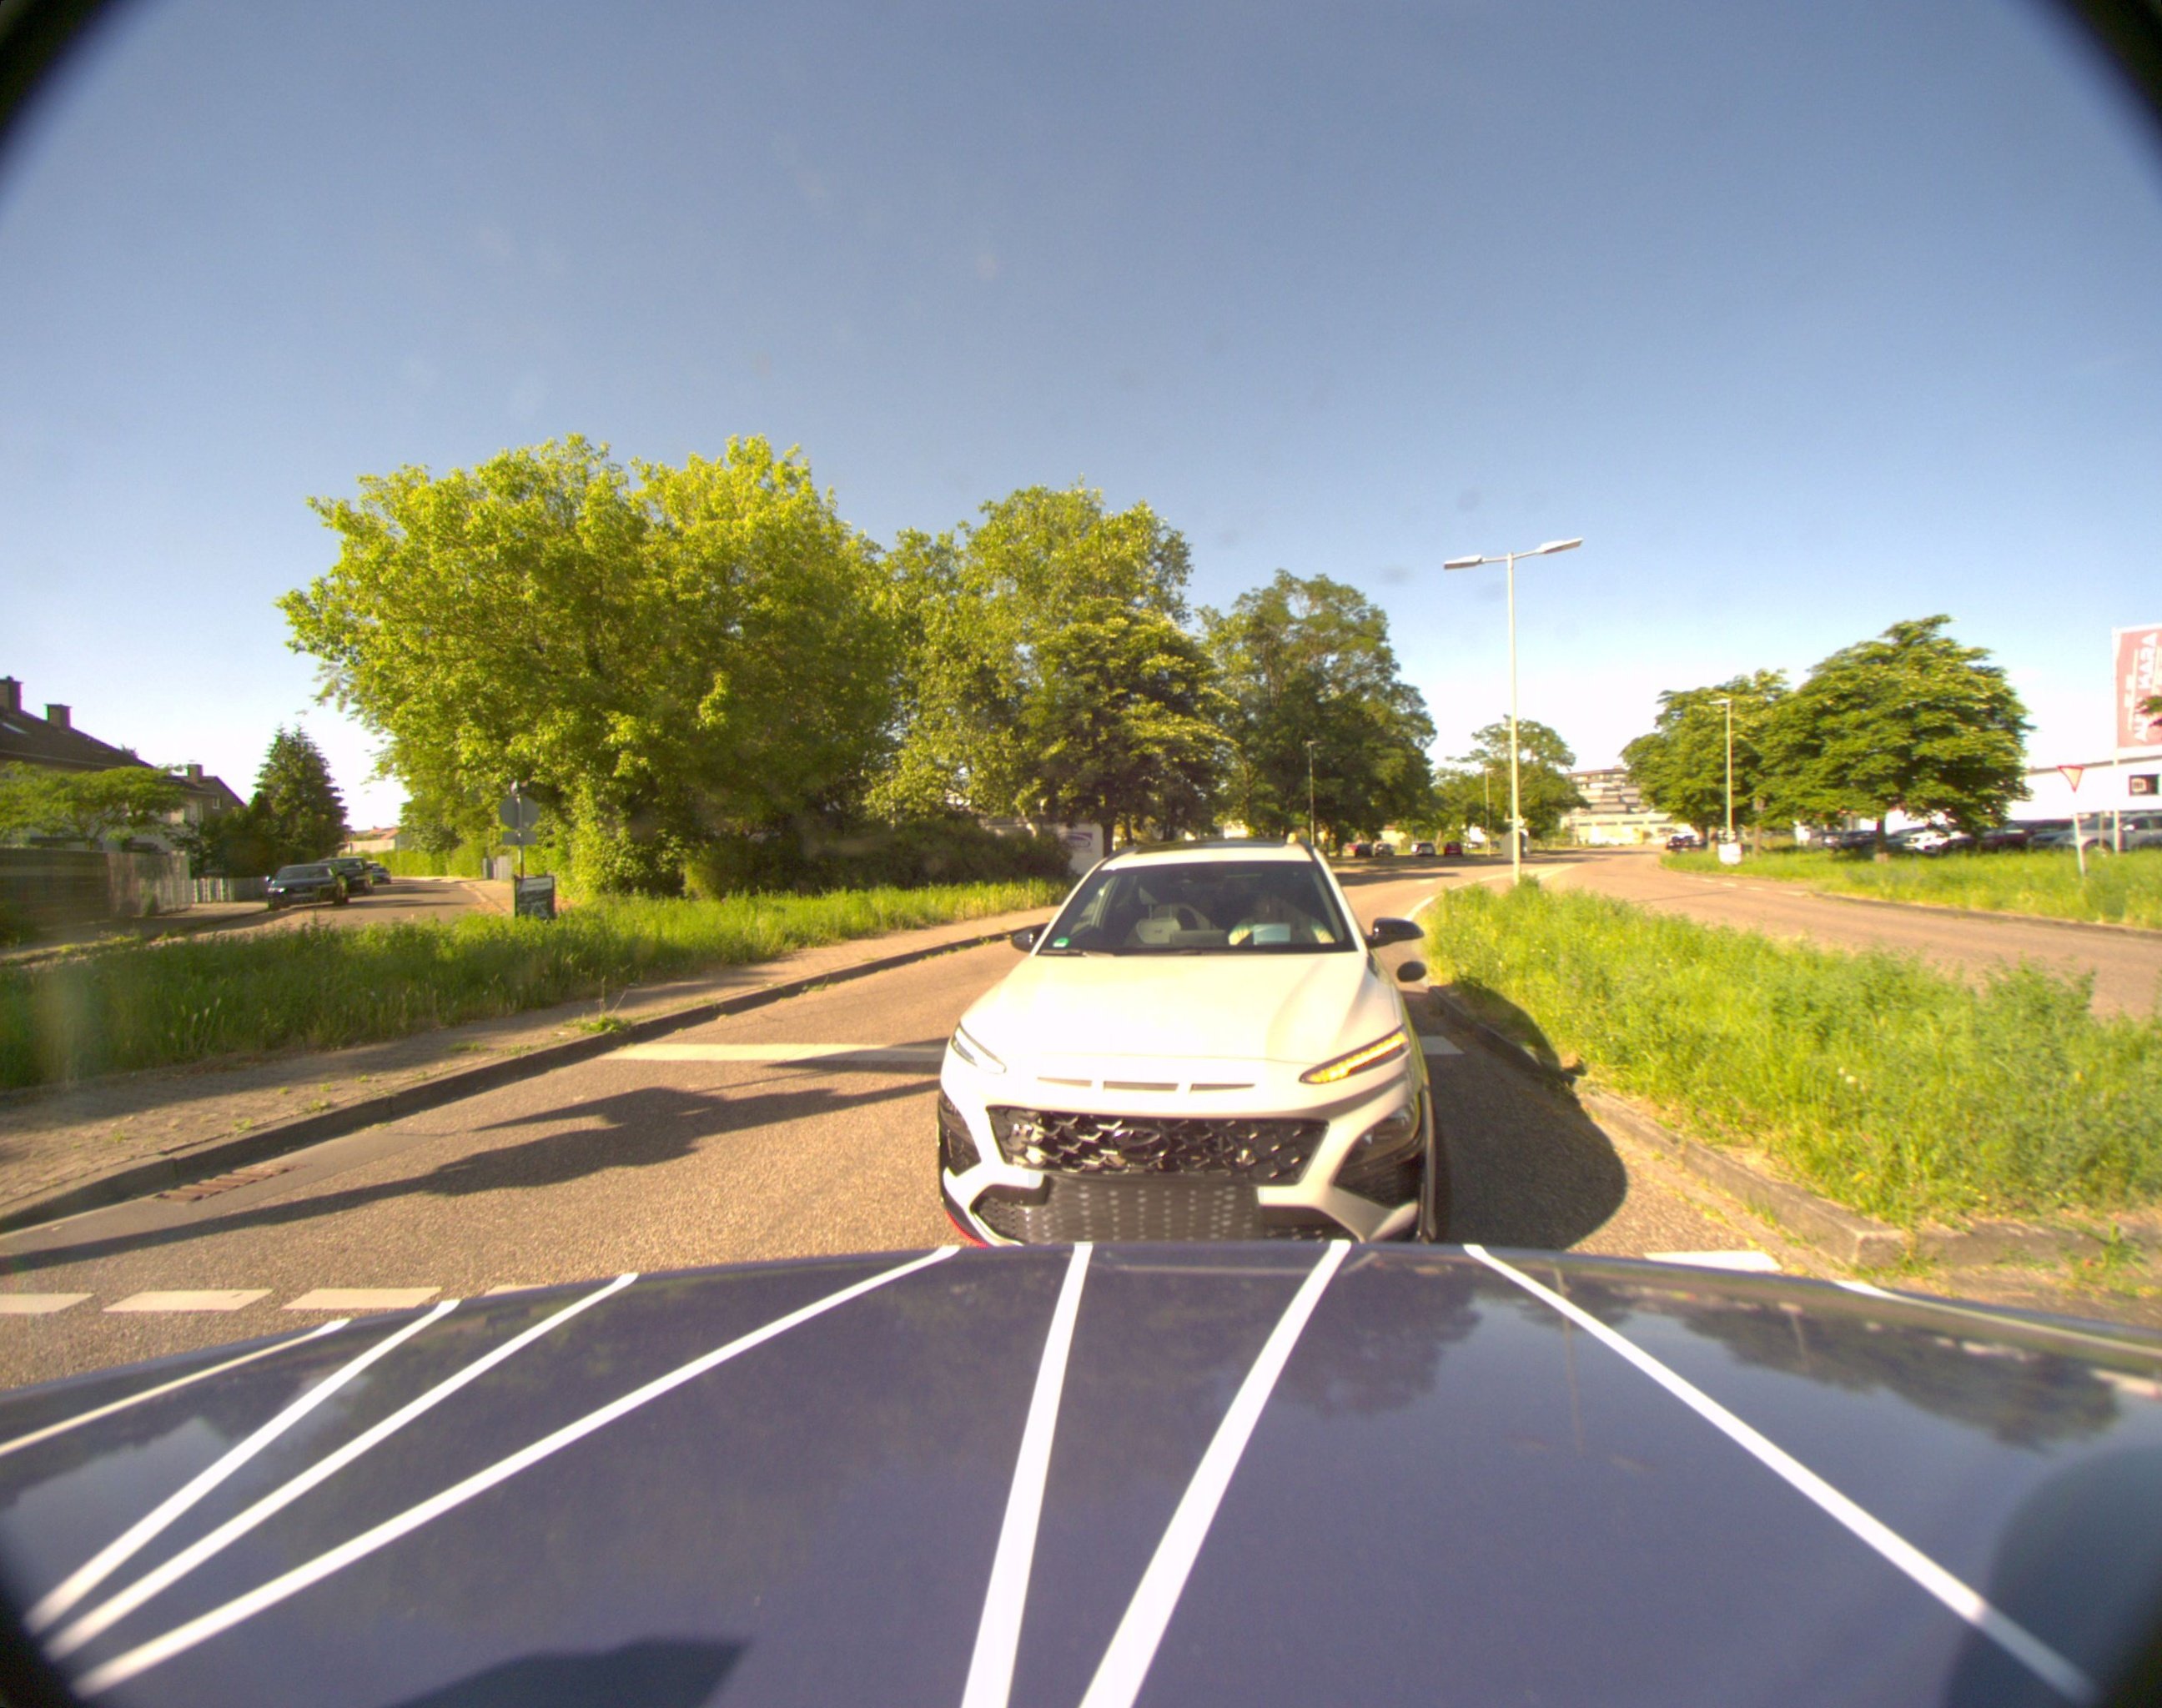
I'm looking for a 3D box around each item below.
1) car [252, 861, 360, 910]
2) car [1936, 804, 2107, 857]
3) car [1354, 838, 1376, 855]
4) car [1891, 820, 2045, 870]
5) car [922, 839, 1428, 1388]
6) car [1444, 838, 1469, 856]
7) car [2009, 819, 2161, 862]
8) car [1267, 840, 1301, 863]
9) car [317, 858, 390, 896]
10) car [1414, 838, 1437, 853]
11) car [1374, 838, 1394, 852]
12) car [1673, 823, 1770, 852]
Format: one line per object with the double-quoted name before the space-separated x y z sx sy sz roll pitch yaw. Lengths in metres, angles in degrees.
"car" -28.055 1.064 27.657 2.003 1.547 3.989 -3 1 -36
"car" 38.242 -0.915 31.010 3.993 2.002 2.002 -1 1 14
"car" 28.502 -0.785 76.195 1.733 1.610 4.006 1 2 24
"car" 39.029 -0.404 33.551 3.993 2.002 2.002 -2 1 12
"car" 0.845 0.787 4.534 1.712 1.636 4.058 -1 2 17
"car" 36.216 -0.711 73.399 1.995 1.657 4.006 1 2 24
"car" 37.498 -0.501 27.950 3.993 1.400 1.840 -2 1 12
"car" 17.821 -0.240 66.606 2.005 1.785 4.006 -2 1 28
"car" -35.453 1.096 37.132 1.967 1.657 3.989 -3 1 -36
"car" 33.847 -0.857 74.627 1.995 1.442 4.006 1 2 24
"car" 32.410 -1.001 81.187 1.868 1.432 3.488 1 2 24
"car" 37.431 -0.953 44.554 3.990 1.521 1.932 -1 1 27
